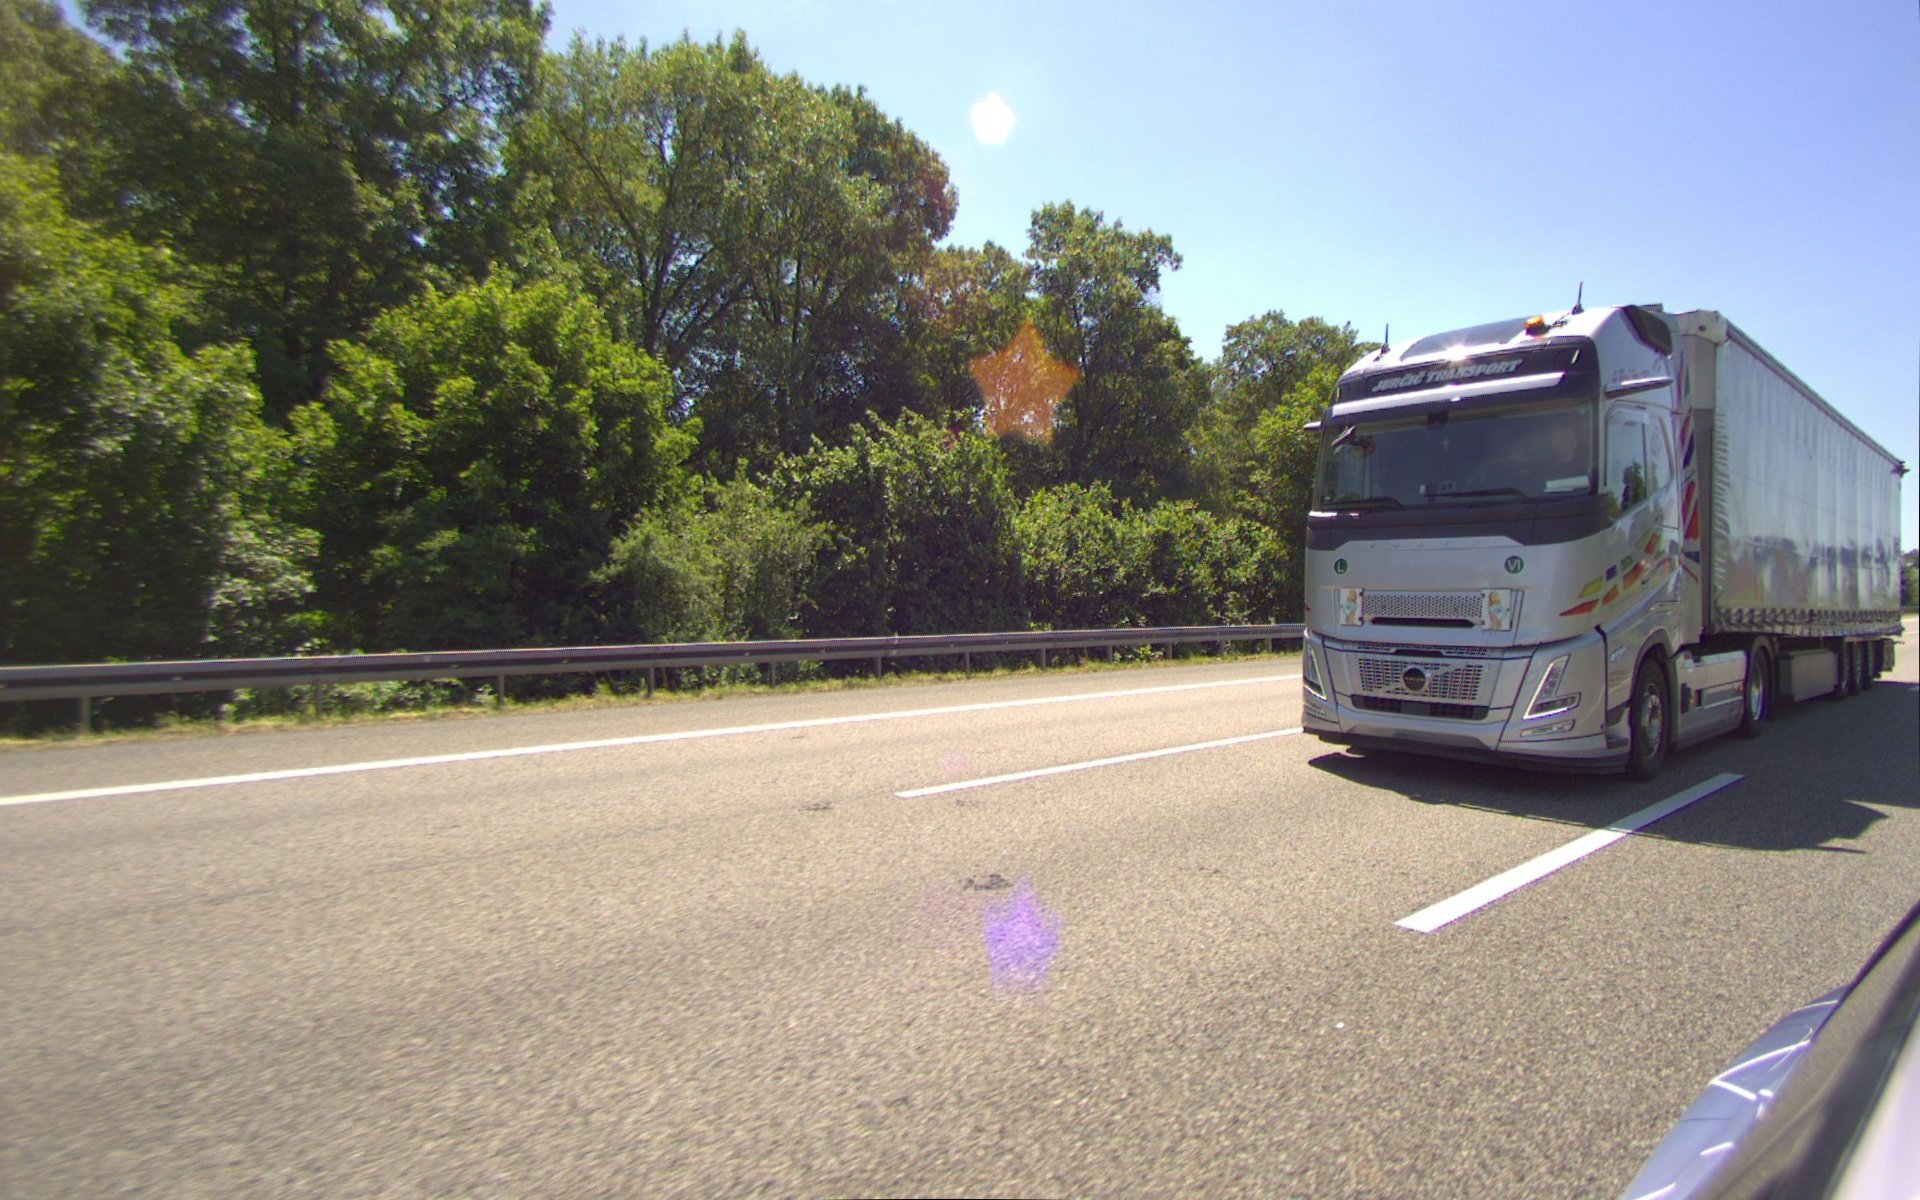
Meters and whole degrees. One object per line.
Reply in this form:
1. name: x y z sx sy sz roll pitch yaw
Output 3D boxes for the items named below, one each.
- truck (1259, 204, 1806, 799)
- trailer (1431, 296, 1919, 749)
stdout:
1. truck: 5.930 -0.693 9.987 6.387 4.025 2.727 0 0 -41
2. trailer: 11.106 -0.731 14.445 13.415 4.025 2.745 0 0 -41
